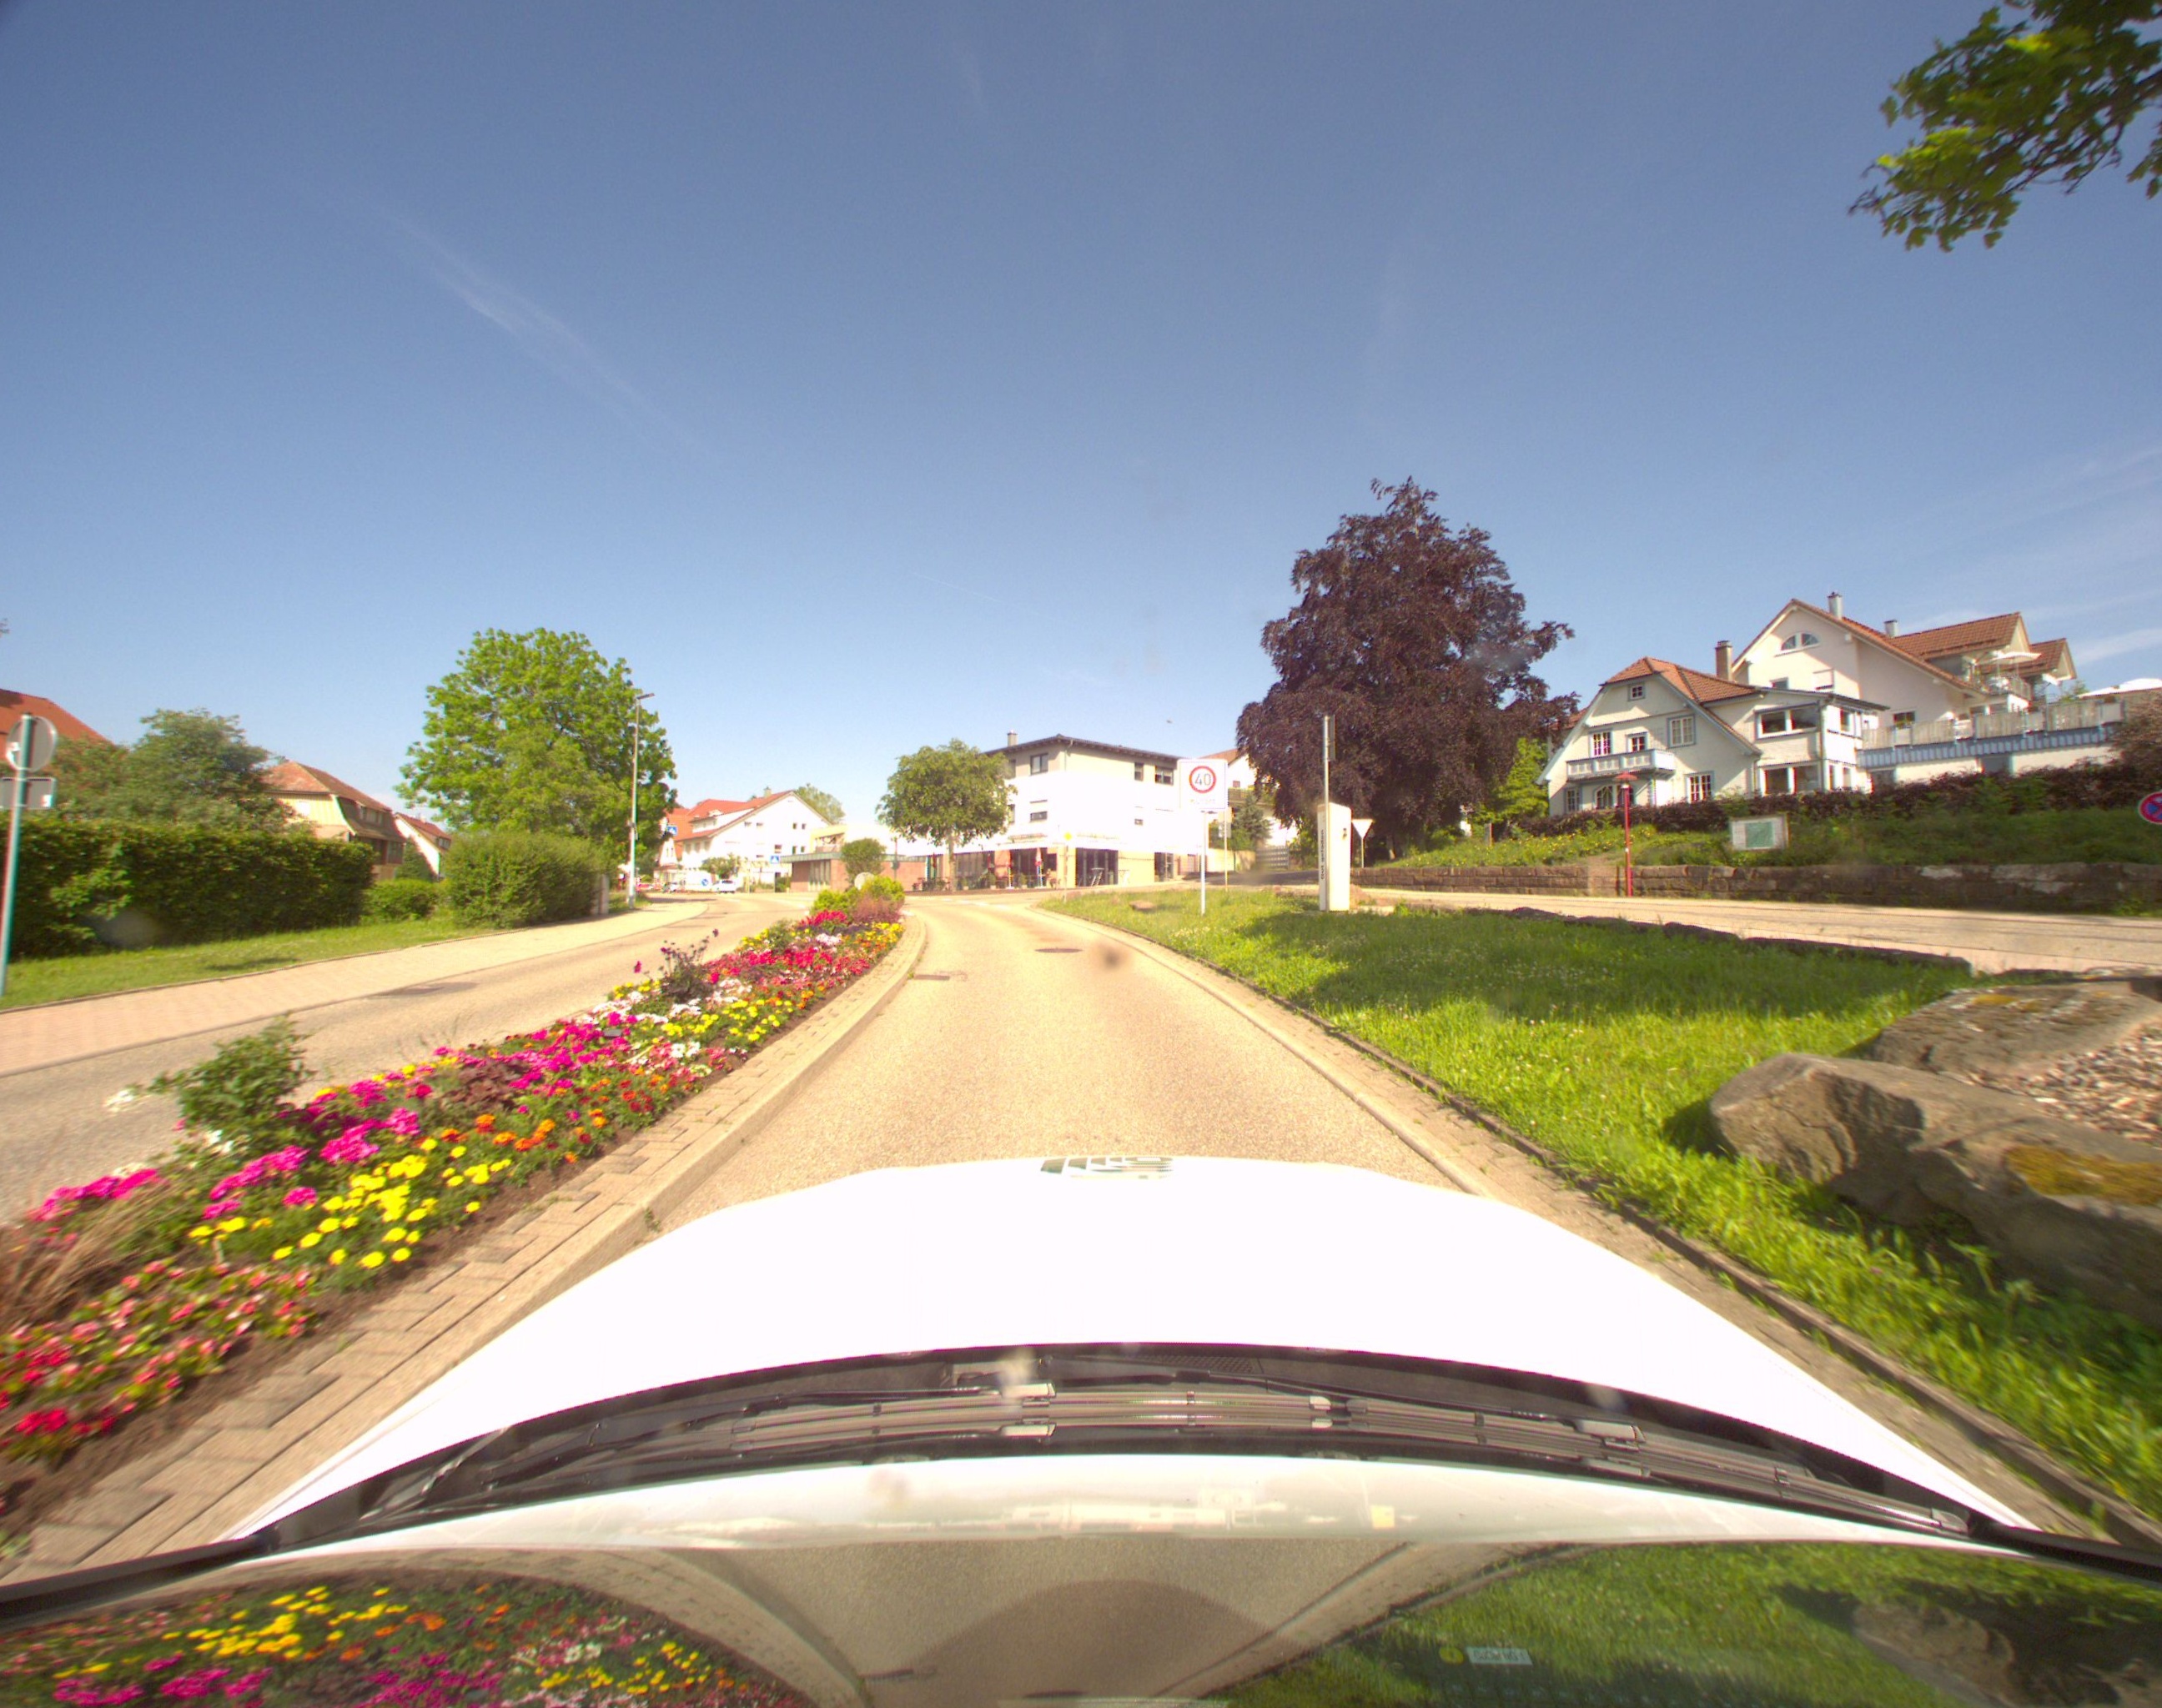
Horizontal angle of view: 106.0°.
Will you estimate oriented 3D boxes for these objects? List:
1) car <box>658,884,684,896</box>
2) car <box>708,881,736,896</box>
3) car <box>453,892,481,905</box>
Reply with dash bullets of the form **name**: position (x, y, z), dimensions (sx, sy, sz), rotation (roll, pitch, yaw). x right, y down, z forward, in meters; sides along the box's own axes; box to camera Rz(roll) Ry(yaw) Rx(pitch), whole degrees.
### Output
- **car**: position (-48.905, 4.286, 97.106), dimensions (1.650, 1.420, 3.886), rotation (-1, -2, -44)
- **car**: position (-36.680, 3.522, 83.138), dimensions (1.774, 1.423, 3.592), rotation (-1, -2, -38)
- **car**: position (-66.755, 4.801, 88.614), dimensions (1.730, 1.297, 3.965), rotation (-1, -2, -26)
